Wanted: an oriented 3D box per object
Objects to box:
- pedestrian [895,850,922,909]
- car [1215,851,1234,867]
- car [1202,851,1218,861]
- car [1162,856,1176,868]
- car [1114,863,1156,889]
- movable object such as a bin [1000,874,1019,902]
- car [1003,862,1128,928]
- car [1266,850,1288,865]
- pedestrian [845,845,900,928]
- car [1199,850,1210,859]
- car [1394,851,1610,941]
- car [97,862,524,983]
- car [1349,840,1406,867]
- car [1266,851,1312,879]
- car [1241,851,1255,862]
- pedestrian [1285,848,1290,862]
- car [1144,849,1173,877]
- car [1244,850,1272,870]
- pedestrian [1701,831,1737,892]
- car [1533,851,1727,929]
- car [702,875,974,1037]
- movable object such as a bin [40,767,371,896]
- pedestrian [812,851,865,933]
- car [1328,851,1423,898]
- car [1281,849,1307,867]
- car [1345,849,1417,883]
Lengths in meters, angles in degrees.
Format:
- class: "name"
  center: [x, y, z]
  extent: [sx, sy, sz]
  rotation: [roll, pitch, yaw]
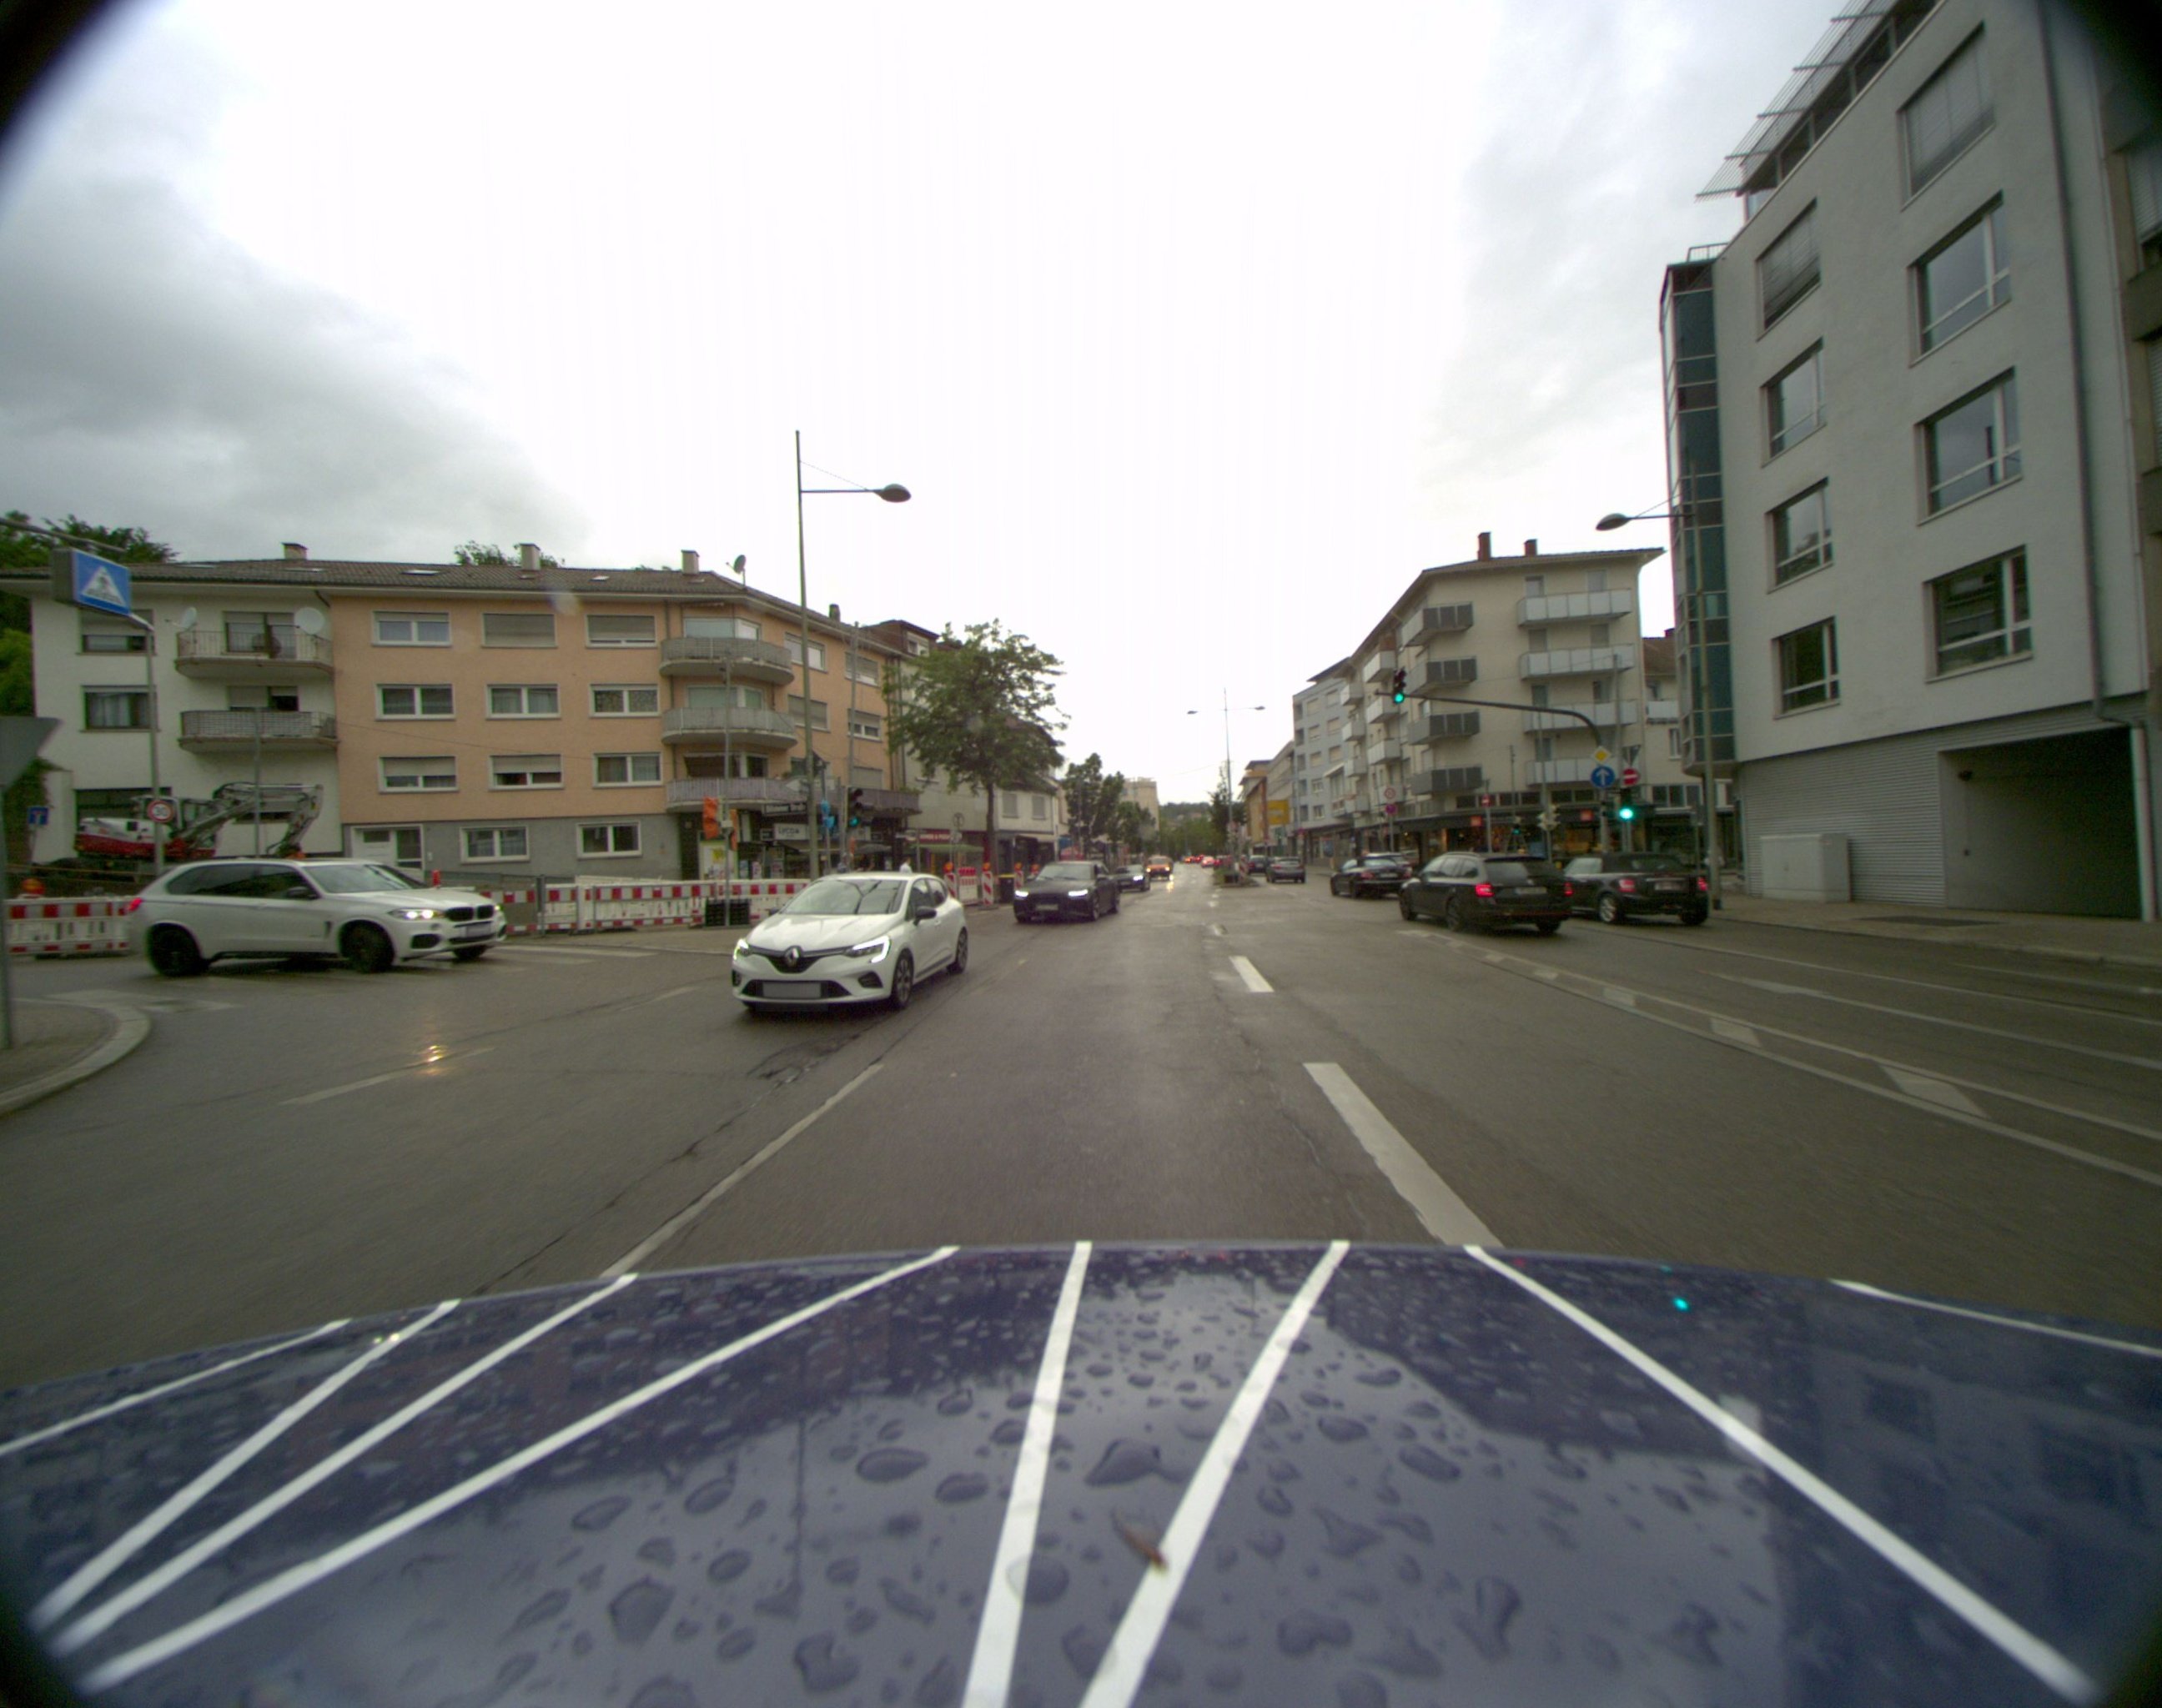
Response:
- class: "pedestrian"
  center: [-5.594, 0.811, 24.643]
  extent: [0.658, 1.868, 0.992]
  rotation: [-2, 1, -22]
- class: "car"
  center: [15.764, 0.517, 83.381]
  extent: [1.850, 1.584, 4.093]
  rotation: [-2, 0, 9]
- class: "car"
  center: [17.706, 0.307, 104.372]
  extent: [1.849, 1.409, 4.617]
  rotation: [0, 0, 5]
- class: "car"
  center: [12.310, 1.101, 106.198]
  extent: [1.812, 1.334, 4.002]
  rotation: [-5, 0, 8]
- class: "car"
  center: [2.958, 1.153, 40.770]
  extent: [1.810, 1.331, 4.282]
  rotation: [0, -1, 10]
- class: "movable object such as a bin"
  center: [-2.681, 1.284, 28.529]
  extent: [0.622, 1.025, 0.532]
  rotation: [-1, -1, 8]
- class: "car"
  center: [-0.210, 0.956, 19.912]
  extent: [2.037, 1.379, 5.298]
  rotation: [-1, 1, 13]
- class: "car"
  center: [21.360, 0.398, 82.986]
  extent: [1.850, 1.488, 4.003]
  rotation: [-4, 0, 8]
- class: "pedestrian"
  center: [-4.877, 0.728, 17.774]
  extent: [0.921, 1.850, 1.029]
  rotation: [-3, 3, -33]
- class: "car"
  center: [23.082, 0.134, 142.187]
  extent: [1.776, 1.634, 3.842]
  rotation: [-1, 0, 8]
- class: "car"
  center: [7.750, 0.684, 14.583]
  extent: [1.988, 1.451, 4.487]
  rotation: [-1, 0, 5]
- class: "car"
  center: [-11.933, 1.008, 12.024]
  extent: [4.794, 1.710, 2.000]
  rotation: [0, 1, 2]
- class: "car"
  center: [24.390, -0.020, 62.576]
  extent: [3.994, 2.042, 1.896]
  rotation: [-2, 0, 9]
- class: "car"
  center: [11.682, 0.601, 43.016]
  extent: [1.856, 1.465, 4.651]
  rotation: [-2, 0, 7]
- class: "car"
  center: [25.750, 0.379, 117.200]
  extent: [1.775, 1.579, 4.029]
  rotation: [-1, 0, 9]
- class: "pedestrian"
  center: [25.266, 0.109, 92.964]
  extent: [0.512, 1.679, 0.531]
  rotation: [-1, 2, 8]
- class: "car"
  center: [6.540, 0.735, 63.696]
  extent: [2.197, 2.074, 5.936]
  rotation: [-3, 1, 7]
- class: "car"
  center: [14.099, 0.464, 60.667]
  extent: [1.833, 1.534, 4.286]
  rotation: [-2, 0, 8]
- class: "pedestrian"
  center: [17.312, 0.200, 20.602]
  extent: [0.834, 1.598, 0.624]
  rotation: [-2, 0, -44]
- class: "car"
  center: [11.119, 0.660, 15.714]
  extent: [1.725, 1.391, 3.596]
  rotation: [-1, 0, 7]
- class: "car"
  center: [-2.583, 1.016, 9.151]
  extent: [1.680, 1.395, 4.001]
  rotation: [-1, 0, 5]
- class: "movable object such as a bin"
  center: [-28.076, -0.597, 24.755]
  extent: [6.539, 3.615, 2.740]
  rotation: [3, -1, -13]
- class: "pedestrian"
  center: [-5.260, 0.800, 16.473]
  extent: [0.823, 1.679, 0.792]
  rotation: [-3, 3, -39]
- class: "car"
  center: [9.817, 0.630, 25.705]
  extent: [1.828, 1.358, 4.605]
  rotation: [-1, 1, 6]
- class: "car"
  center: [18.340, 0.339, 65.646]
  extent: [1.775, 1.515, 4.287]
  rotation: [-2, 0, 11]
- class: "car"
  center: [13.500, 0.495, 34.463]
  extent: [1.932, 1.465, 4.606]
  rotation: [0, 0, 6]
